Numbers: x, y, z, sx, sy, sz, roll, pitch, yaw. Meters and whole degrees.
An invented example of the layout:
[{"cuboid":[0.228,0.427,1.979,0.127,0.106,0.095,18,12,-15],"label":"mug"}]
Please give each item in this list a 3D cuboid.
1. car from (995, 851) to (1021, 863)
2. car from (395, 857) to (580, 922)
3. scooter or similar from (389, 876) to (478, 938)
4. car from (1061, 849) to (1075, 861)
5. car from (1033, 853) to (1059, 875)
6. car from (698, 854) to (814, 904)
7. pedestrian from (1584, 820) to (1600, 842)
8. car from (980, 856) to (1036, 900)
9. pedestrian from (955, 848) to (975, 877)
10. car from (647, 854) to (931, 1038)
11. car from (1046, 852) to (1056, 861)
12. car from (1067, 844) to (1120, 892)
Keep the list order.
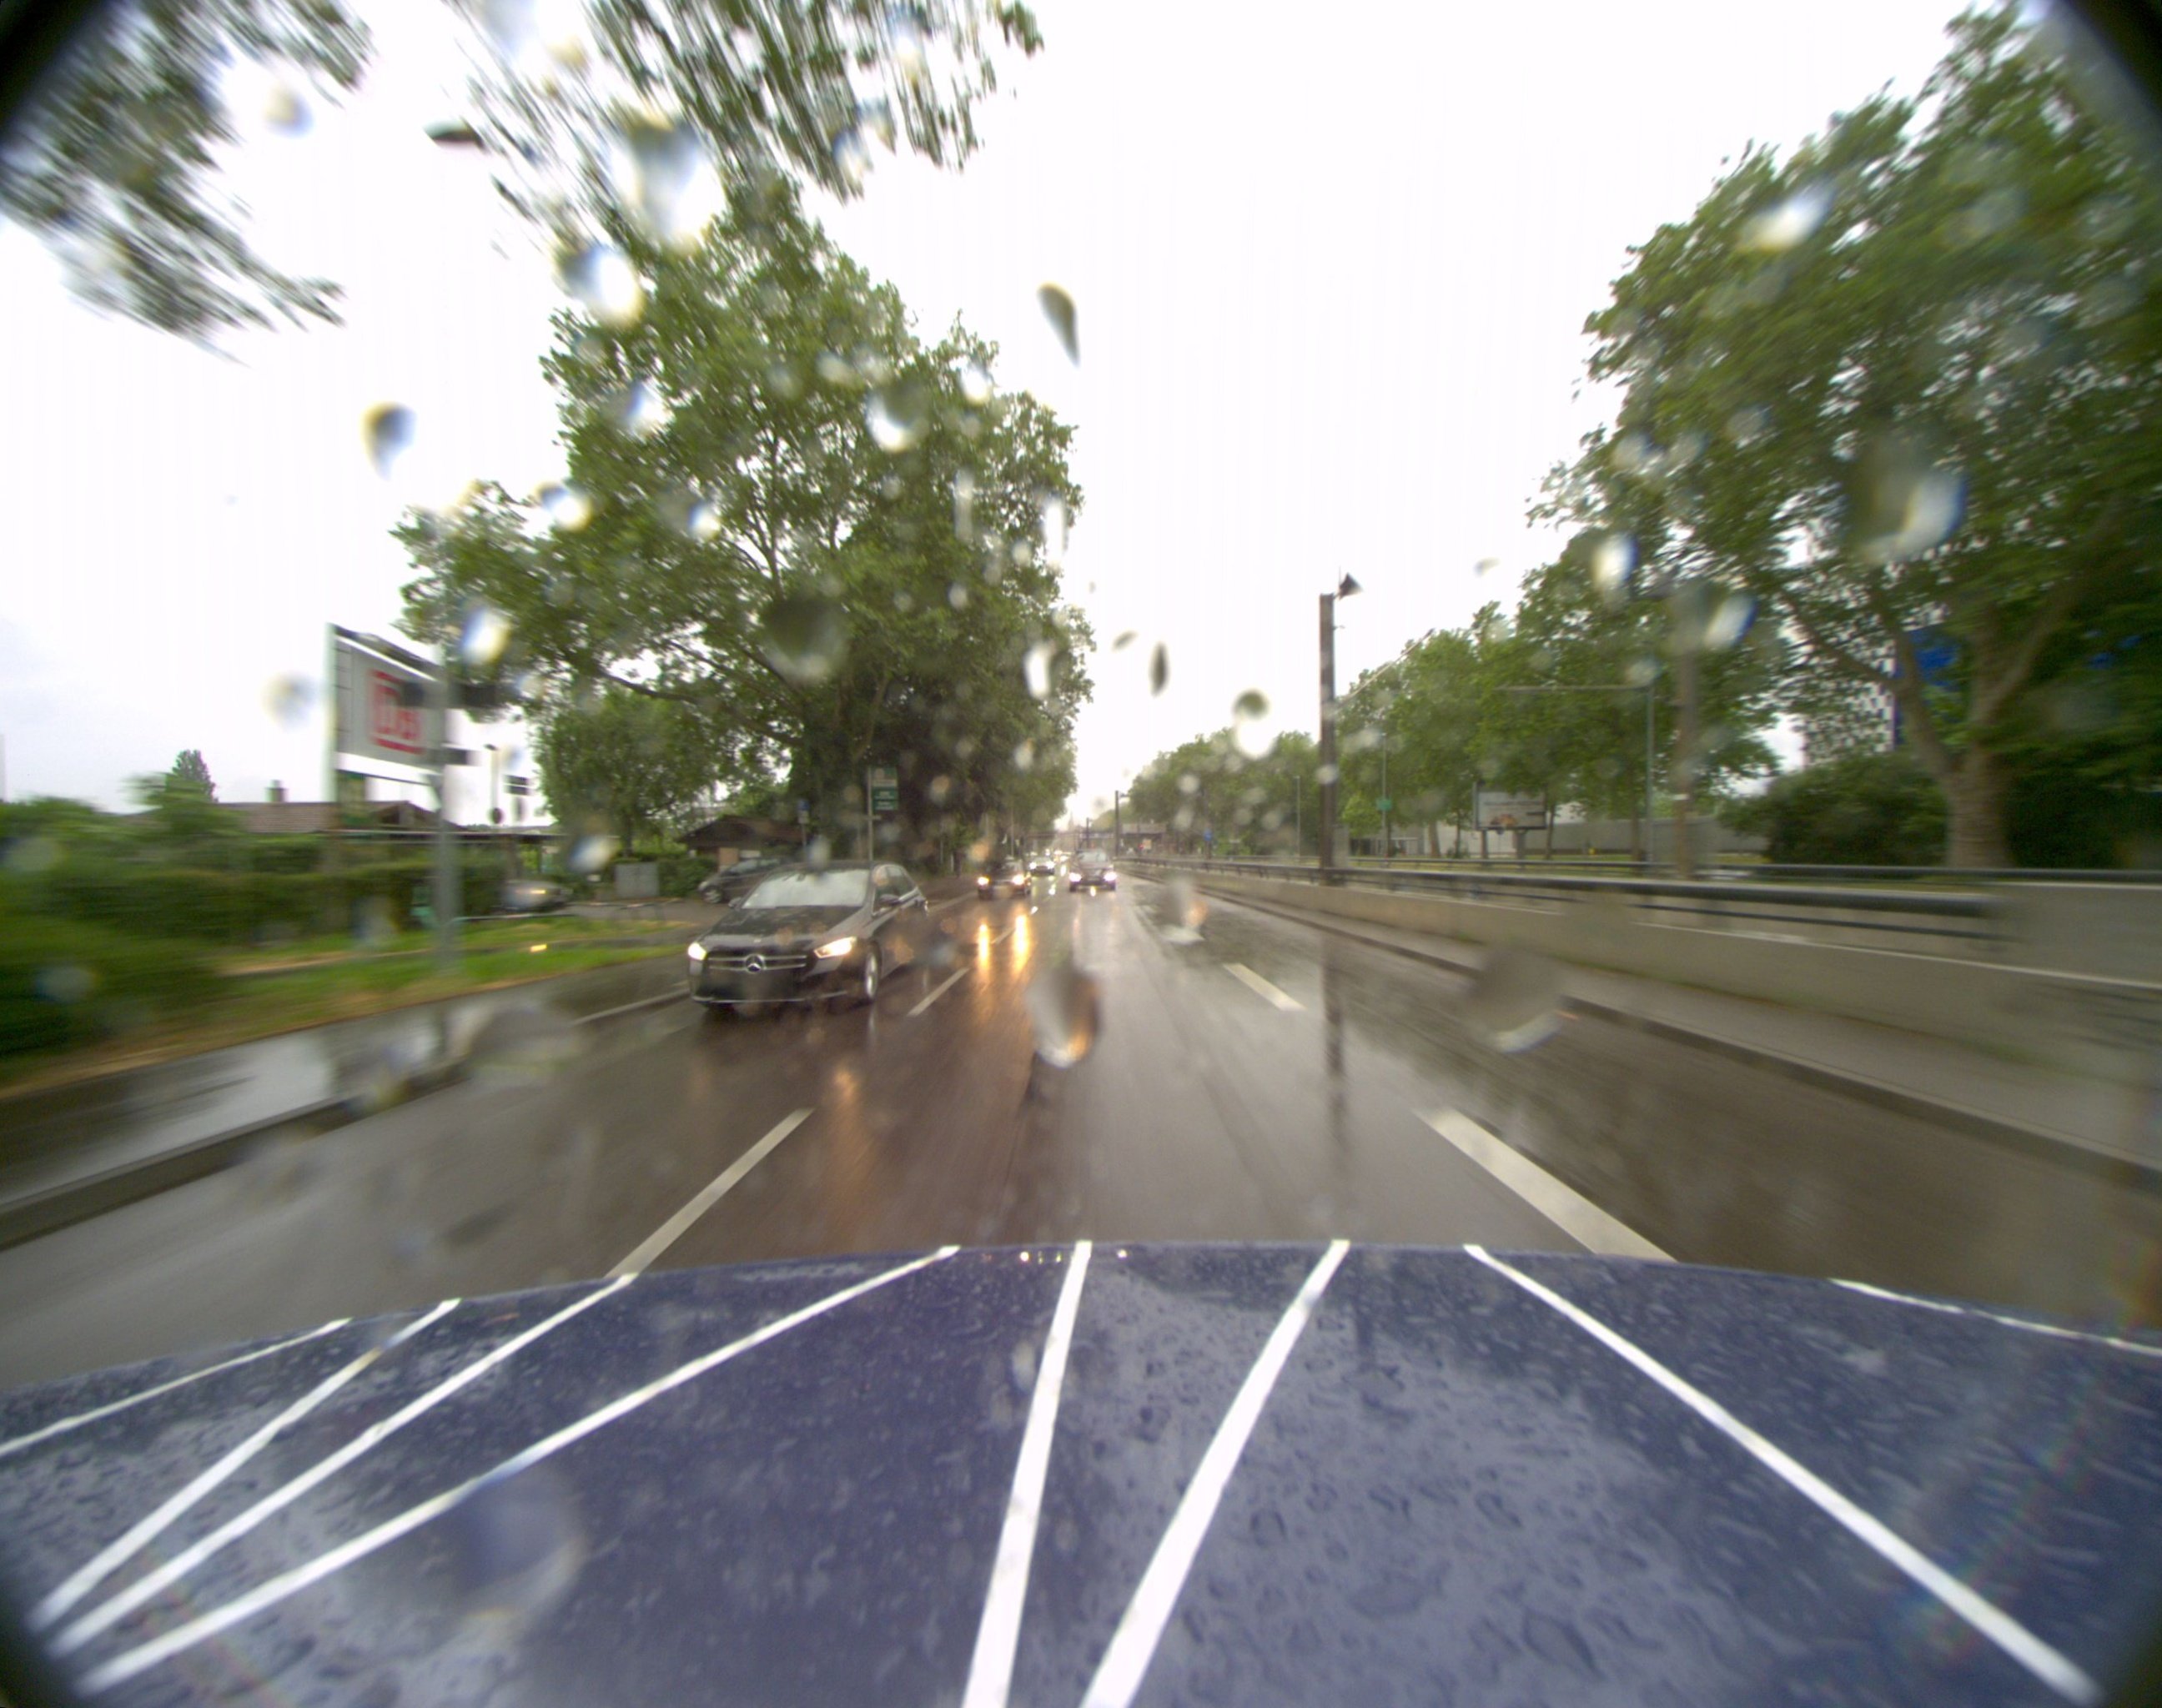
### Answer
[{"cuboid":[-9.565,0.337,99.411,1.611,1.423,3.546,-4,1,-43],"label":"car"},{"cuboid":[-15.150,0.890,19.525,3.389,1.488,1.659,-2,-1,0],"label":"car"},{"cuboid":[-12.839,1.026,15.108,0.459,1.111,1.276,-2,1,13],"label":"scooter or similar"},{"cuboid":[-1.886,0.175,107.840,1.870,1.689,4.424,-1,0,-3],"label":"car"},{"cuboid":[-2.518,0.698,55.394,1.821,1.521,4.157,-1,0,-2],"label":"car"},{"cuboid":[-11.251,0.854,26.520,3.392,1.599,1.657,-2,0,-10],"label":"car"},{"cuboid":[48.439,-2.167,72.015,1.004,2.002,0.790,-3,1,-1],"label":"pedestrian"},{"cuboid":[-2.658,0.842,28.273,1.641,1.377,3.781,-2,1,0],"label":"car"},{"cuboid":[-6.943,0.504,45.507,0.969,1.693,1.140,-3,2,-1],"label":"pedestrian"},{"cuboid":[-3.060,0.825,9.078,1.821,1.521,4.420,-3,1,-3],"label":"car"},{"cuboid":[-5.937,0.469,150.853,1.870,1.689,4.157,-1,0,-3],"label":"car"},{"cuboid":[0.490,0.534,31.033,1.975,1.794,4.158,-2,0,0],"label":"car"}]
